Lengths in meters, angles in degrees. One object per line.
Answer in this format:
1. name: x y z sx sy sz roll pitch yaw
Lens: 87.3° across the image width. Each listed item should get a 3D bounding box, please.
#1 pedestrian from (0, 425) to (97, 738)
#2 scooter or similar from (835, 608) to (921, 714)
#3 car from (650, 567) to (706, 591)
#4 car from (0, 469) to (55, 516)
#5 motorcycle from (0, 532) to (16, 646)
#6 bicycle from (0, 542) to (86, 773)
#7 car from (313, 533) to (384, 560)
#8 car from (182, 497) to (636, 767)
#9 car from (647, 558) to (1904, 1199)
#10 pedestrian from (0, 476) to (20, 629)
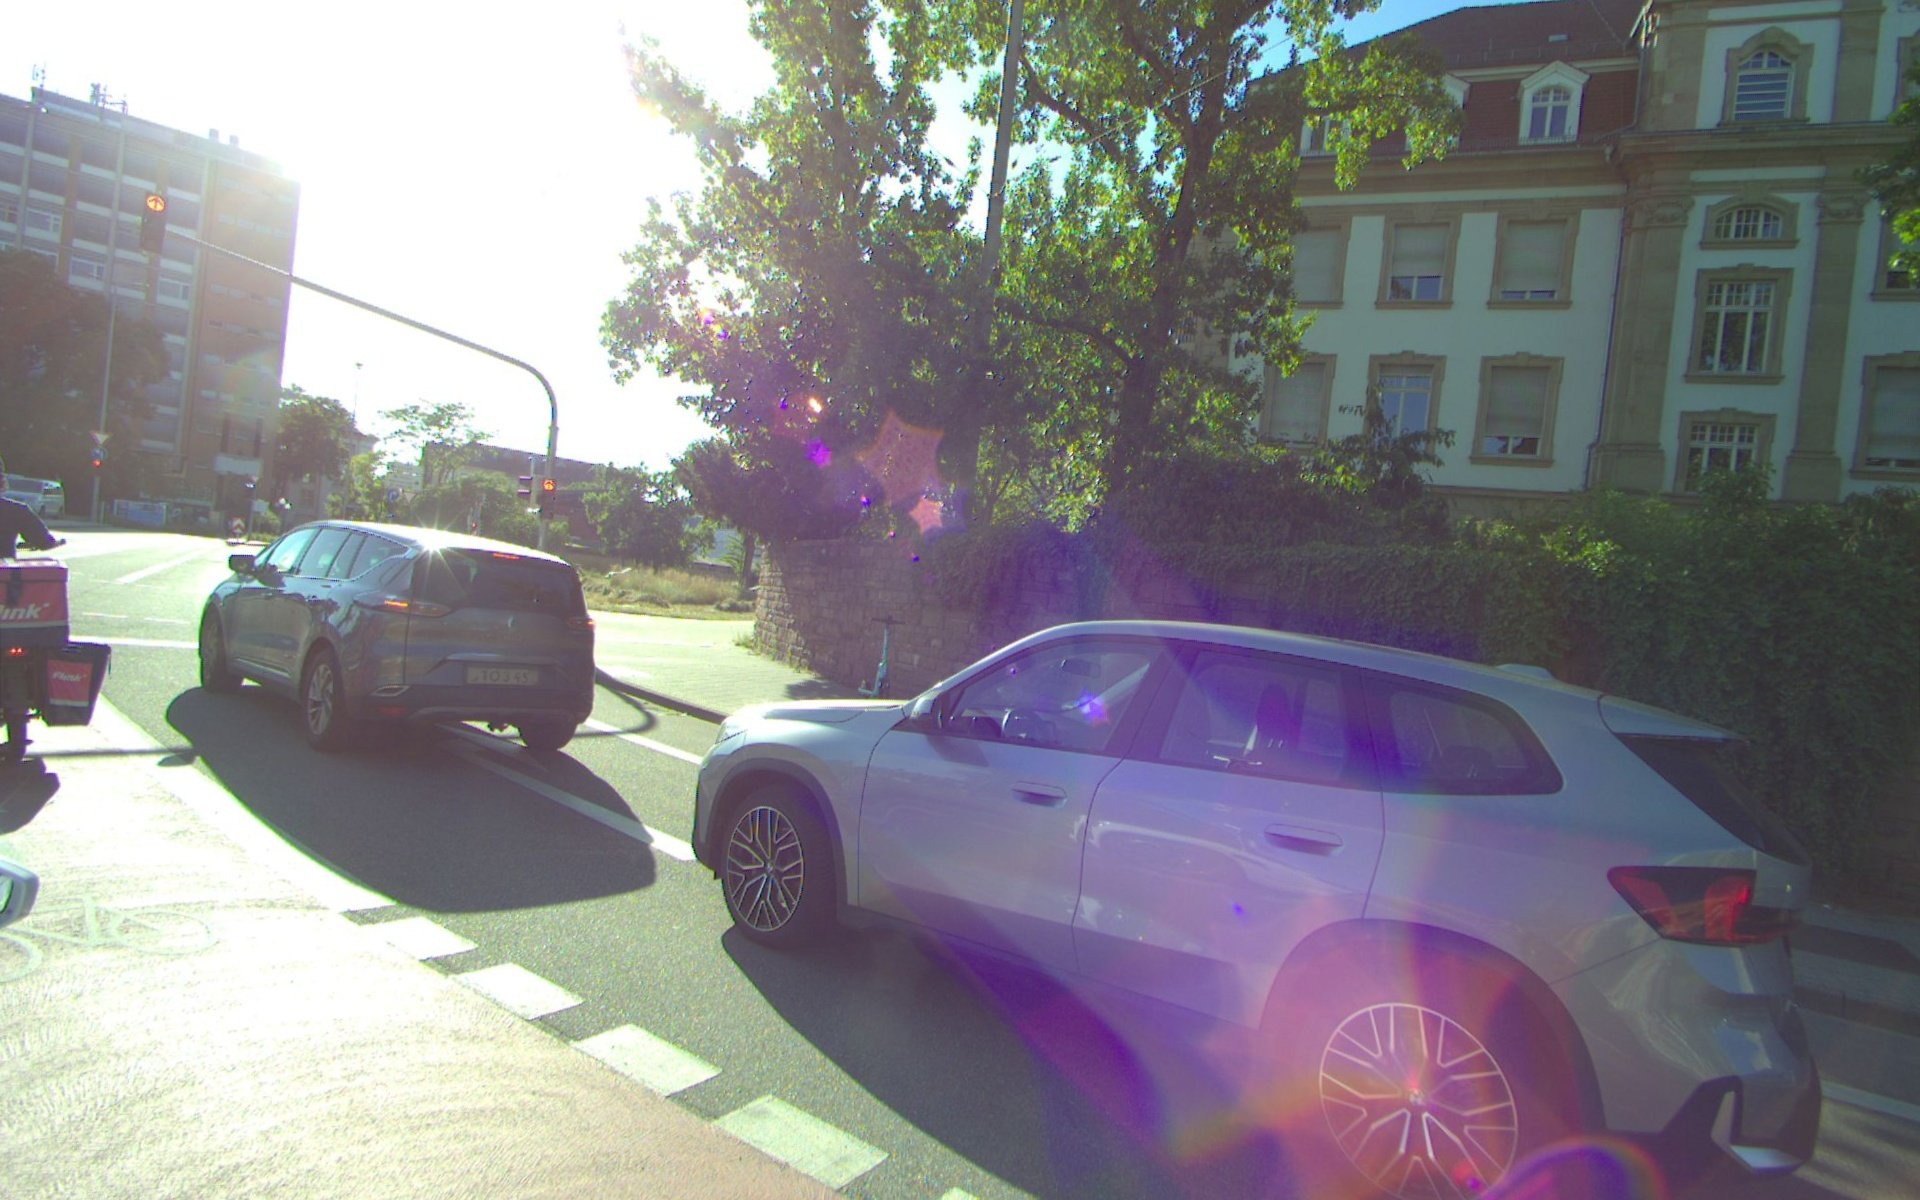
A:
1. pedestrian: -6.216 -0.146 6.390 0.943 1.890 0.806 6 -1 40
2. scooter or similar: -1.156 0.820 13.879 0.569 1.285 1.414 6 0 -27
3. car: -22.784 -1.682 81.224 3.956 1.549 1.790 6 1 -31
4. car: -45.136 -5.134 48.323 1.897 1.970 4.660 4 1 -36
5. motorcycle: -8.935 -0.081 8.919 0.611 1.110 2.334 8 -2 -41
6. bicycle: -5.991 0.257 6.175 2.340 1.185 0.553 6 -2 42
7. car: -46.578 -4.066 76.733 4.338 1.549 1.794 6 1 -26
8. car: -4.837 0.163 8.552 4.307 1.709 1.830 6 -2 40
9. car: 0.826 0.883 4.240 4.263 1.612 1.788 6 -2 37
10. pedestrian: -8.711 -0.300 8.745 0.585 1.617 1.013 8 -1 -41
